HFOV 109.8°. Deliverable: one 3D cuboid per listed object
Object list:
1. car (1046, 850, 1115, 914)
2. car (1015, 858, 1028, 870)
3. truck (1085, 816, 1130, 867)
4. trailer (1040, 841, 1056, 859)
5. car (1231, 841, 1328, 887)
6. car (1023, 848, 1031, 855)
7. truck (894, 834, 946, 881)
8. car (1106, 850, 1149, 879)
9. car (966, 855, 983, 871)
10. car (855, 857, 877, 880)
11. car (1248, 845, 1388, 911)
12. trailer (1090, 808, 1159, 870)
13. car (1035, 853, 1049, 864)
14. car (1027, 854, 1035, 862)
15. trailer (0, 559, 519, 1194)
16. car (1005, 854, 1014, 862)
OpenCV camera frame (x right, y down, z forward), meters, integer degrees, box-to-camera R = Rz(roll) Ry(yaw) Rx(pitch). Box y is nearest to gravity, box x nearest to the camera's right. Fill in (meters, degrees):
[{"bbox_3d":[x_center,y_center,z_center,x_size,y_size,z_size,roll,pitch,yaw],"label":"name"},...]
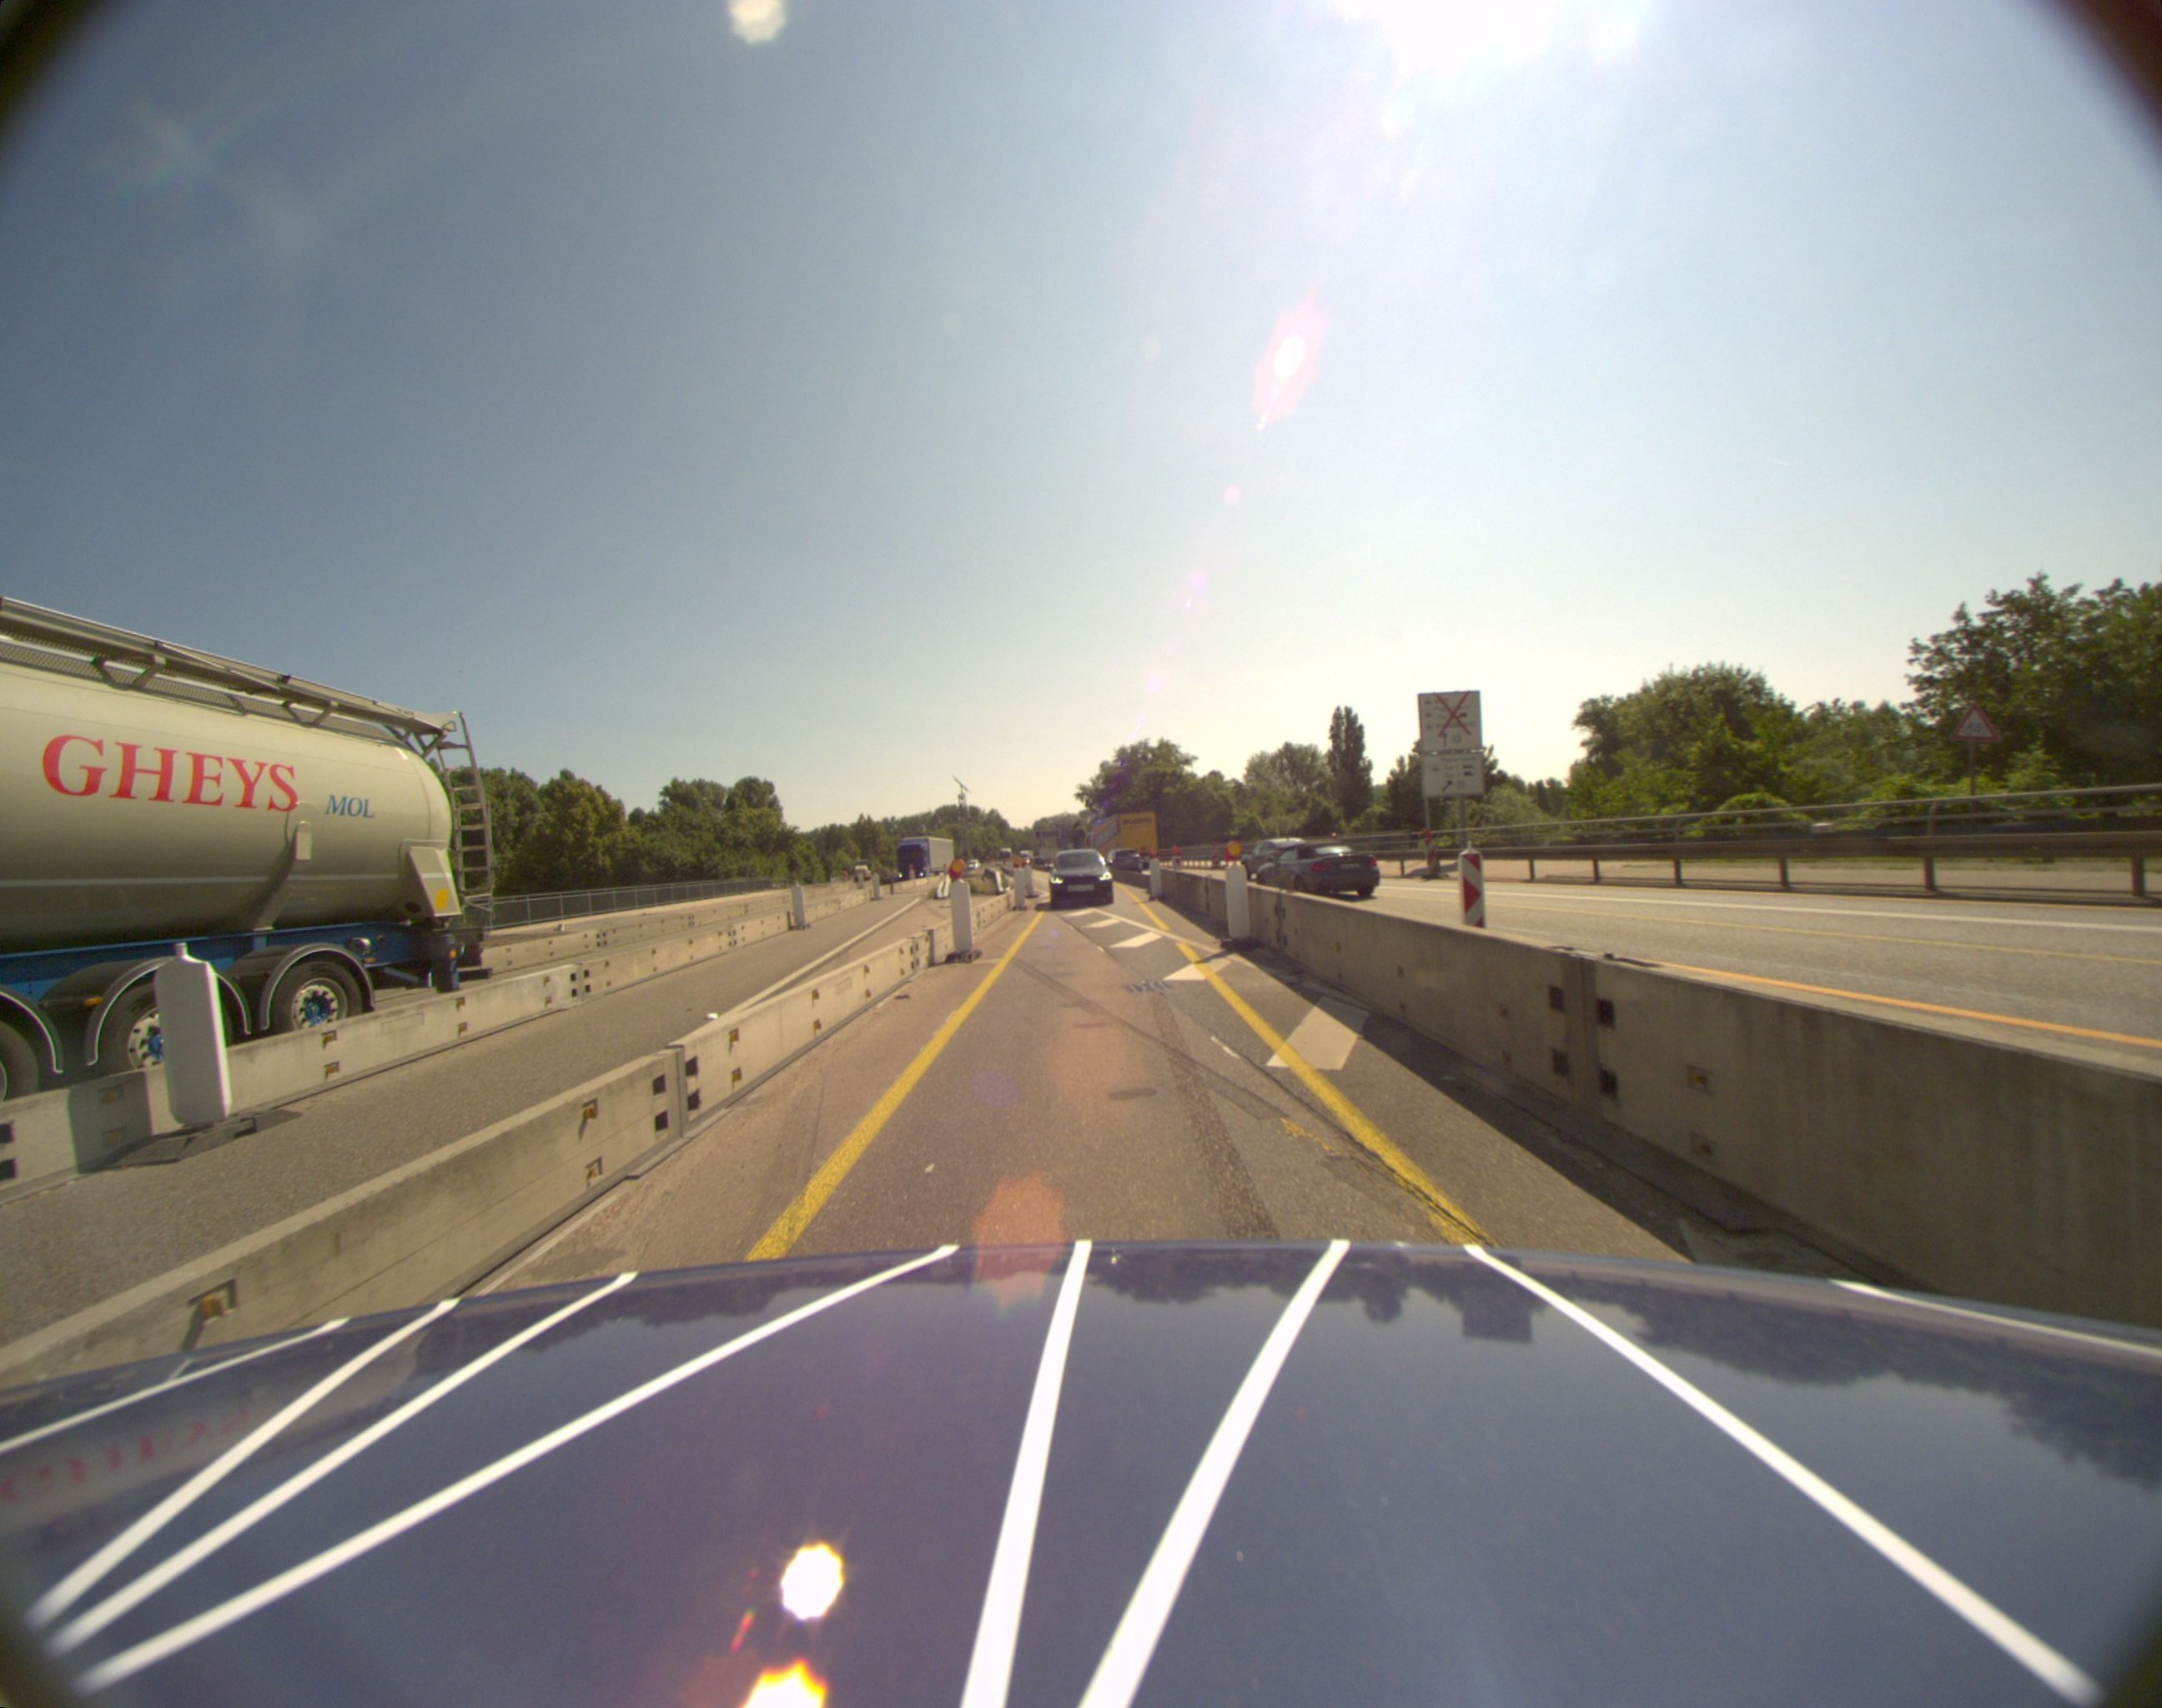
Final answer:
[{"bbox_3d":[-0.087,0.773,23.865,1.789,1.651,4.485,-6,1,-2],"label":"car"},{"bbox_3d":[-8.485,1.417,108.315,1.748,1.621,4.090,-3,0,-5],"label":"car"},{"bbox_3d":[2.241,-1.080,66.741,2.758,4.112,6.411,-3,0,-6],"label":"truck"},{"bbox_3d":[-7.935,-0.829,179.112,2.812,4.019,13.461,-3,0,-6],"label":"trailer"},{"bbox_3d":[7.470,0.350,29.089,1.938,1.499,4.466,-4,0,-8],"label":"car"},{"bbox_3d":[-17.106,-0.731,241.139,1.999,2.002,3.999,-3,0,-1],"label":"car"},{"bbox_3d":[-14.859,0.291,70.926,2.861,3.962,8.664,-3,0,-1],"label":"truck"},{"bbox_3d":[2.709,0.595,45.294,1.796,1.559,3.870,-4,0,-7],"label":"car"},{"bbox_3d":[-14.391,1.240,102.921,1.999,2.002,3.998,-3,0,-6],"label":"car"},{"bbox_3d":[-26.180,1.688,92.759,2.111,2.627,5.978,-3,0,-12],"label":"car"},{"bbox_3d":[5.820,0.551,19.240,1.694,1.368,4.270,-4,0,-7],"label":"car"},{"bbox_3d":[3.100,-1.036,59.881,2.769,4.112,14.522,-3,0,-7],"label":"trailer"},{"bbox_3d":[-6.300,0.725,122.725,1.868,1.622,4.563,-4,0,-6],"label":"car"},{"bbox_3d":[-14.295,1.139,217.149,1.999,2.002,3.999,-3,0,-1],"label":"car"},{"bbox_3d":[-8.204,0.181,3.655,2.702,4.113,12.606,-3,0,-7],"label":"trailer"},{"bbox_3d":[-16.199,0.815,171.381,1.748,1.621,4.091,-3,0,-3],"label":"car"}]
